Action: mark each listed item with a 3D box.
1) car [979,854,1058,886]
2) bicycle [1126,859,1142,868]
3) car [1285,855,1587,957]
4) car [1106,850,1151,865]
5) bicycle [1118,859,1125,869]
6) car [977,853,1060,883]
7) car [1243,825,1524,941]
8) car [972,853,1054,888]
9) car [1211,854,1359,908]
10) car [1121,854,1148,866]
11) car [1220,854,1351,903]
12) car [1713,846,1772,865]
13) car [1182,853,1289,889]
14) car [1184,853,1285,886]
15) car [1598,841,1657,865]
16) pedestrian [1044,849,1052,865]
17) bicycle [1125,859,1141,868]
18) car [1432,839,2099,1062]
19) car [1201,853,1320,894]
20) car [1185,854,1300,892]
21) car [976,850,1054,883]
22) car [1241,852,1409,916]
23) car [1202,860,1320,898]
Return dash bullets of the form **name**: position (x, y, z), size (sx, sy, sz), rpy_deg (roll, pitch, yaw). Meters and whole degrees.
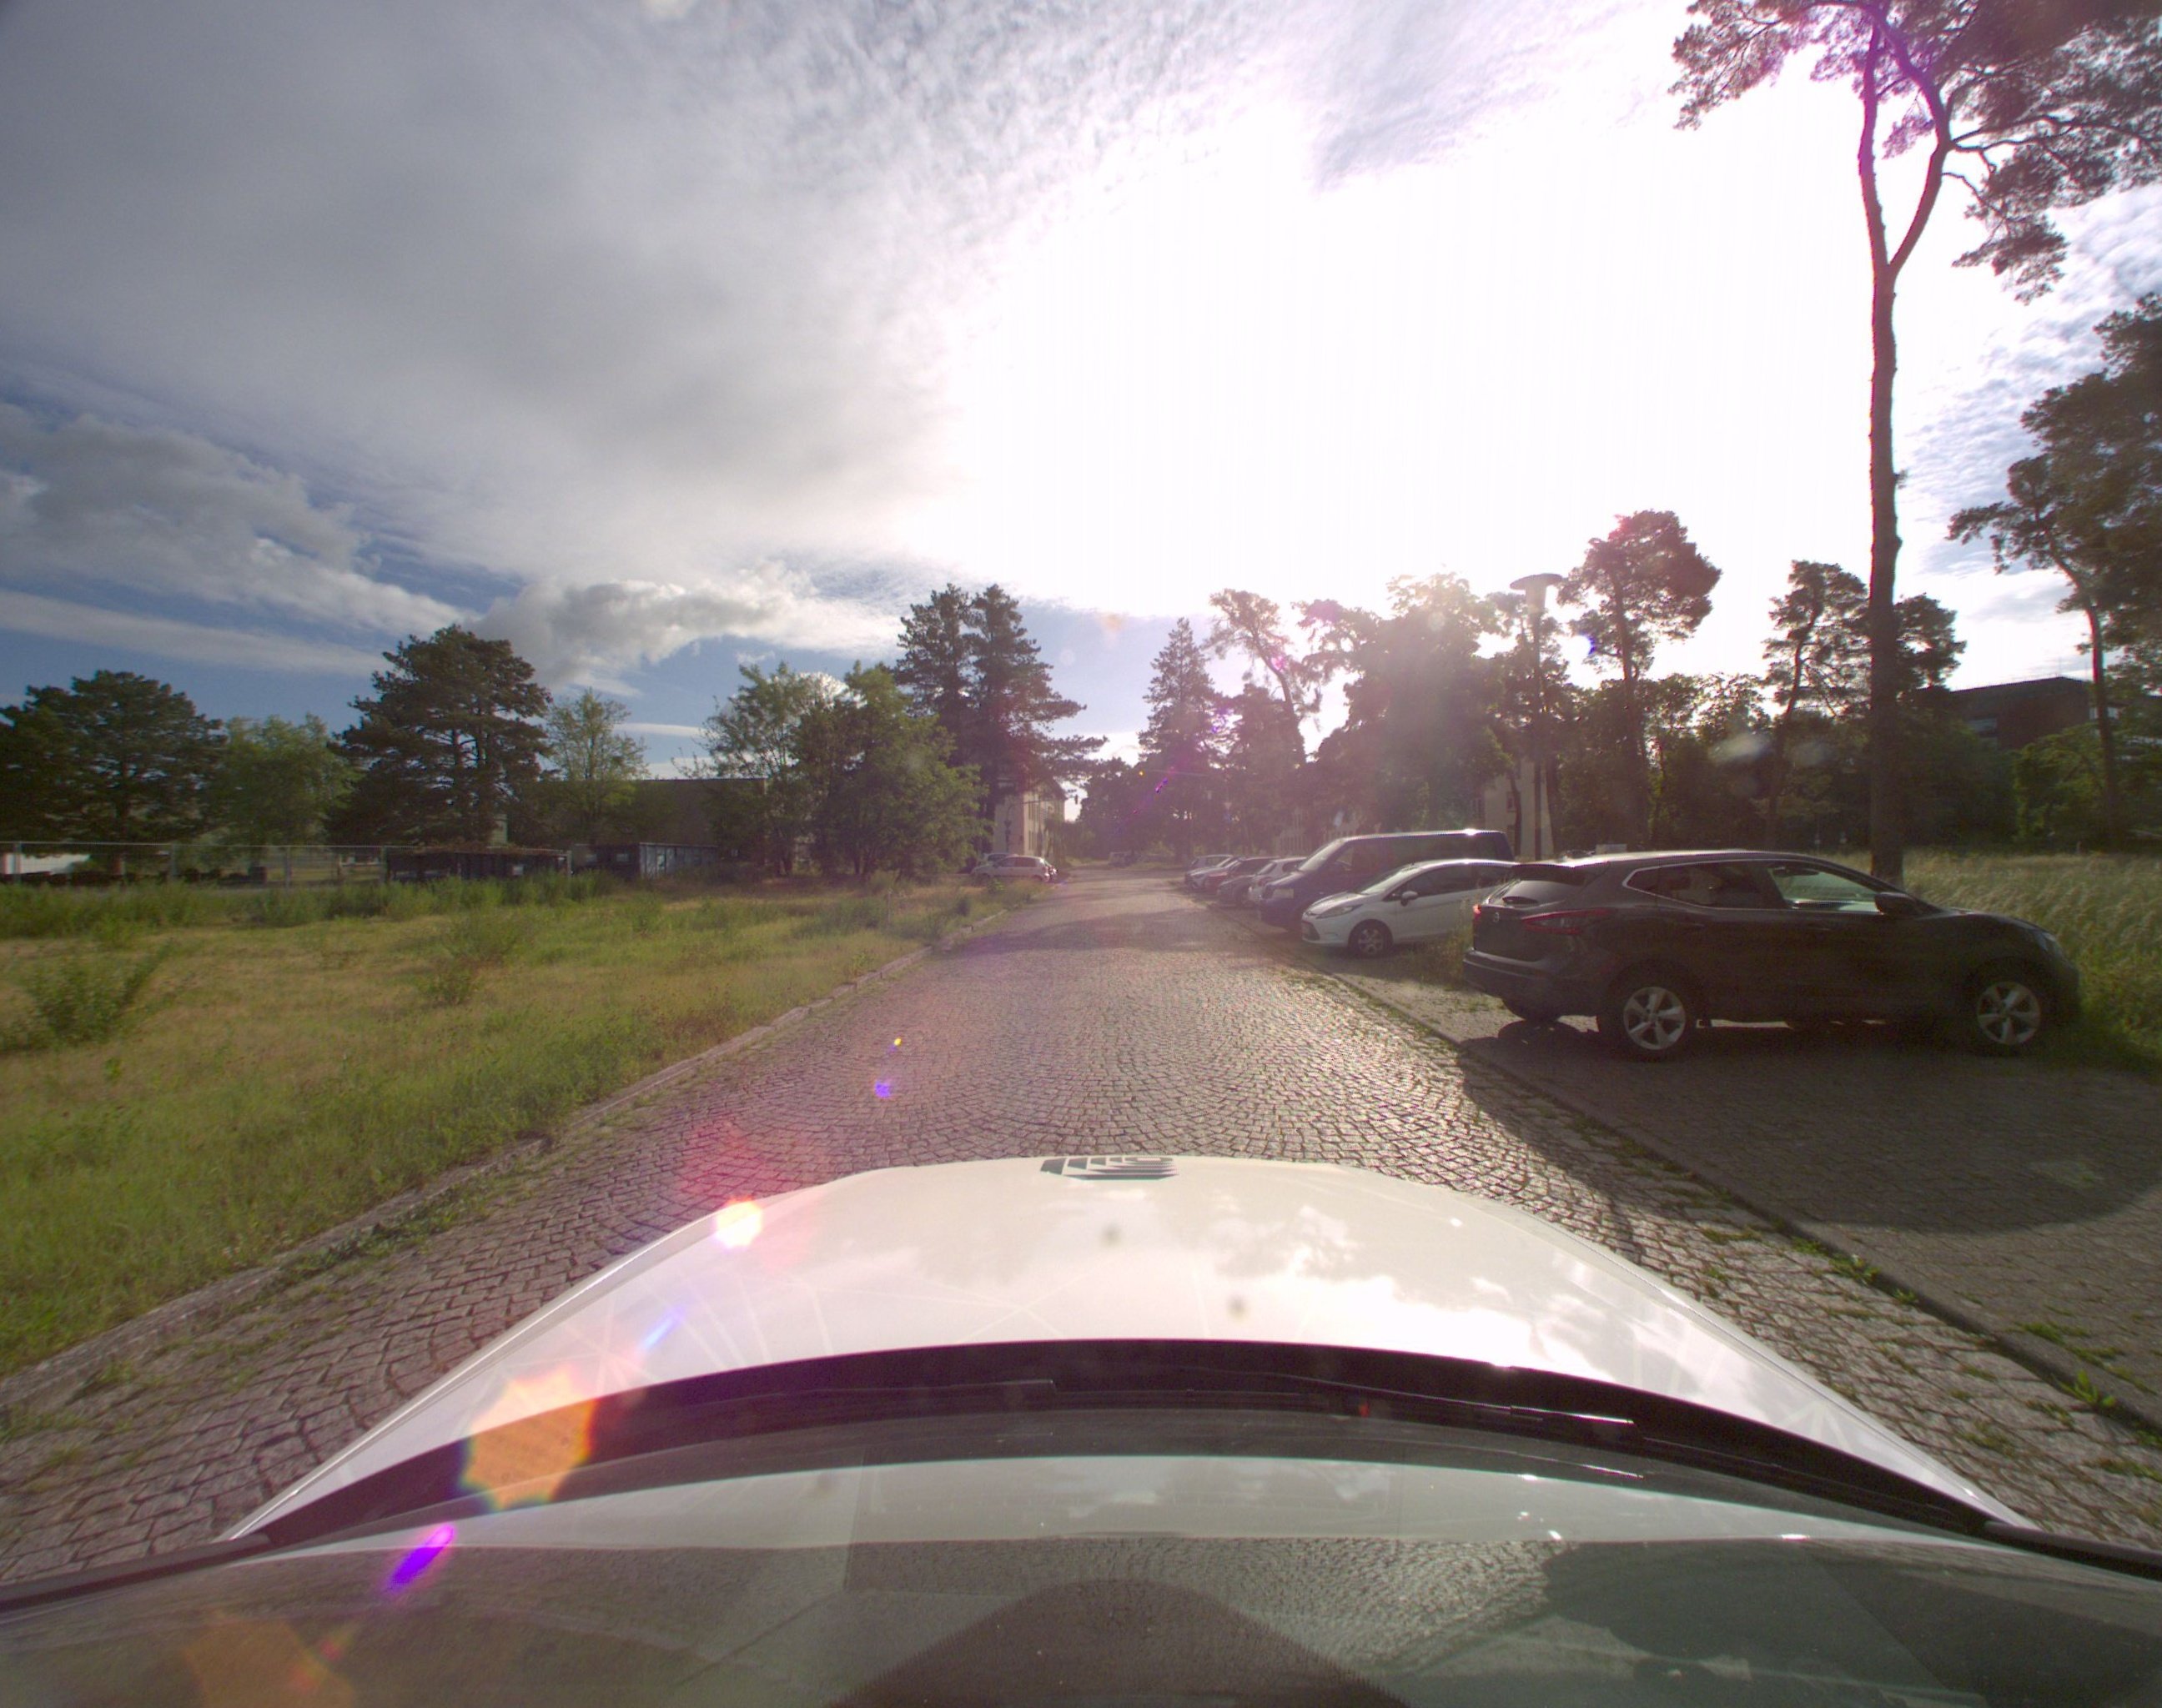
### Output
- **car**: position (-3.146, 0.808, 41.827), size (3.815, 1.429, 1.859), rpy_deg (2, -1, 1)
- **bicycle**: position (5.948, 1.067, 91.935), size (1.786, 0.999, 0.644), rpy_deg (-1, 0, 1)
- **car**: position (5.695, 0.801, 13.424), size (4.179, 1.470, 1.806), rpy_deg (-1, -1, -2)
- **car**: position (6.264, 0.510, 106.863), size (5.504, 1.916, 2.245), rpy_deg (0, -1, -12)
- **bicycle**: position (4.390, 1.057, 87.367), size (0.725, 0.999, 1.800), rpy_deg (-1, 1, 2)
- **car**: position (-3.562, 0.795, 47.081), size (4.573, 1.455, 1.903), rpy_deg (2, 1, -1)
- **car**: position (5.745, 0.539, 15.939), size (4.715, 1.928, 1.993), rpy_deg (-2, -1, 1)
- **car**: position (-3.221, 0.777, 39.171), size (3.670, 1.473, 1.849), rpy_deg (2, -1, 0)
- **car**: position (5.961, 0.779, 24.149), size (3.935, 1.467, 1.832), rpy_deg (-1, -1, 2)
- **car**: position (6.783, 0.814, 103.272), size (3.033, 1.465, 1.714), rpy_deg (0, -1, -11)
- **car**: position (6.723, 0.792, 27.051), size (3.935, 1.495, 1.773), rpy_deg (-1, -1, 2)
- **car**: position (60.972, 0.133, 75.096), size (3.919, 1.679, 1.856), rpy_deg (0, -1, 0)
- **car**: position (6.975, 0.771, 37.120), size (4.495, 1.473, 1.894), rpy_deg (-1, -1, -2)
- **car**: position (7.437, 0.759, 39.734), size (4.529, 1.505, 1.933), rpy_deg (-1, -1, 0)
- **car**: position (61.168, -0.094, 91.217), size (5.136, 2.536, 2.266), rpy_deg (0, -1, 3)
- **pedestrian**: position (-4.226, 0.392, 103.594), size (0.981, 1.963, 0.933), rpy_deg (0, -1, 1)
- **bicycle**: position (5.976, 1.084, 93.436), size (1.786, 0.999, 0.644), rpy_deg (-1, 0, 1)
- **car**: position (5.538, 0.740, 7.067), size (4.175, 1.589, 1.878), rpy_deg (-1, -1, 1)
- **car**: position (6.988, 0.764, 32.066), size (4.324, 1.473, 1.740), rpy_deg (-1, -1, 1)
- **car**: position (6.748, 0.789, 34.345), size (4.489, 1.473, 1.850), rpy_deg (-1, -1, 1)
- **car**: position (-3.578, 0.697, 44.538), size (4.111, 1.600, 1.857), rpy_deg (2, -1, -3)
- **car**: position (6.282, 0.768, 21.279), size (3.859, 1.530, 1.809), rpy_deg (-1, -1, 2)
- **car**: position (6.499, 0.903, 29.699), size (3.935, 1.261, 1.727), rpy_deg (-1, -1, 2)
